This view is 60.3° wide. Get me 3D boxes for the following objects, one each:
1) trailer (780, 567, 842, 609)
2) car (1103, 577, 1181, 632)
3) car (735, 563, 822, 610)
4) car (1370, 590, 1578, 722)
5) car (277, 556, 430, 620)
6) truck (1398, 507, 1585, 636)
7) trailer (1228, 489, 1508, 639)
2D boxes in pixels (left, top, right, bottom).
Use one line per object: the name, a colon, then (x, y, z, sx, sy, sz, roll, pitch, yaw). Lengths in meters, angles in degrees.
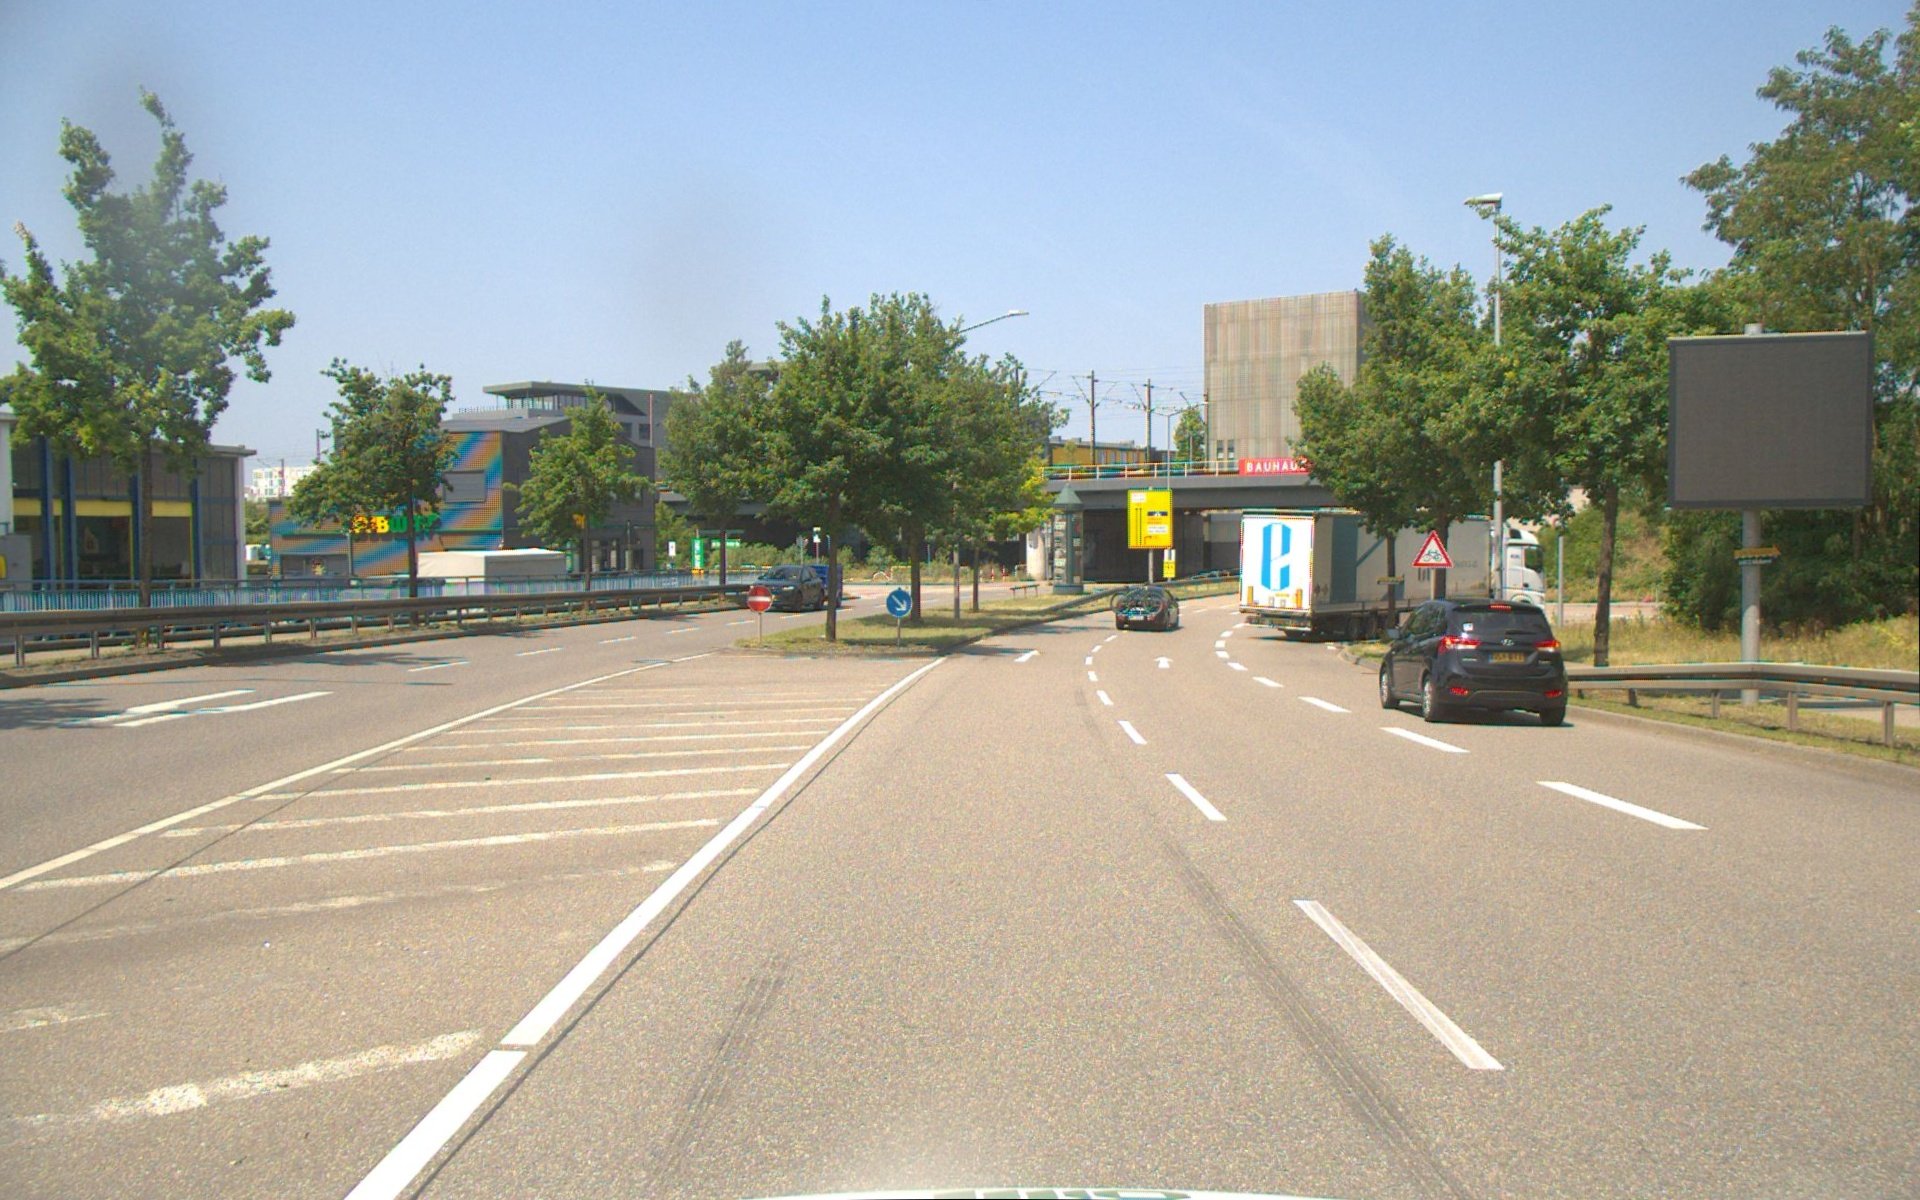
trailer: (-5.884, -0.468, 65.738, 1.472, 1.643, 3.311, -1, 0, 13)
car: (6.135, 0.112, 55.326, 1.915, 1.662, 4.284, 1, 2, 16)
car: (-6.760, -0.503, 61.957, 1.873, 1.681, 4.411, -1, 0, 13)
car: (6.876, 0.692, 22.559, 1.730, 1.627, 4.079, 0, 0, 2)
car: (-16.567, -0.346, 45.462, 1.857, 1.596, 4.644, -2, 1, 10)
truck: (19.622, -1.052, 61.129, 5.985, 4.443, 3.061, 2, 2, -27)
trailer: (14.257, -1.126, 56.166, 3.031, 4.443, 14.698, 4, 3, 39)
